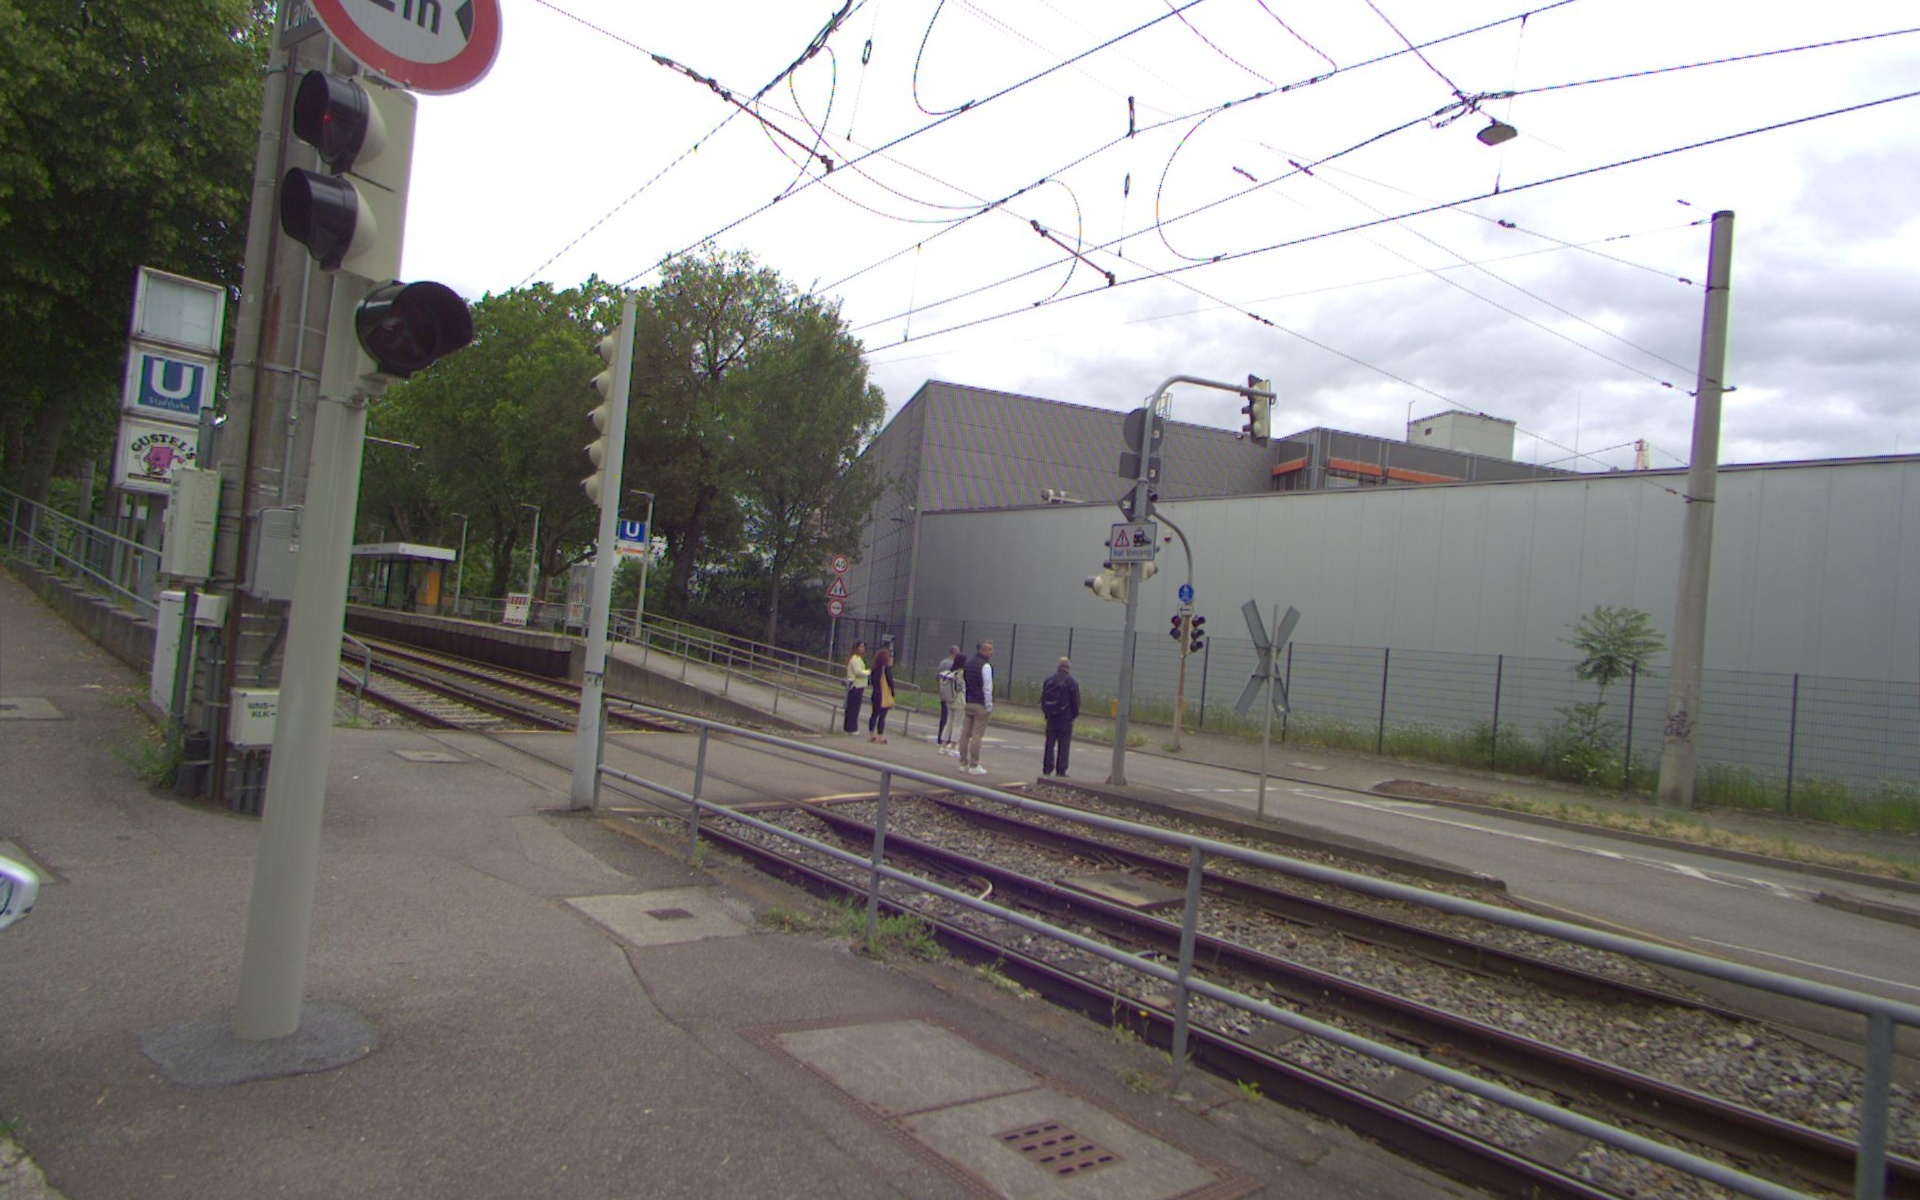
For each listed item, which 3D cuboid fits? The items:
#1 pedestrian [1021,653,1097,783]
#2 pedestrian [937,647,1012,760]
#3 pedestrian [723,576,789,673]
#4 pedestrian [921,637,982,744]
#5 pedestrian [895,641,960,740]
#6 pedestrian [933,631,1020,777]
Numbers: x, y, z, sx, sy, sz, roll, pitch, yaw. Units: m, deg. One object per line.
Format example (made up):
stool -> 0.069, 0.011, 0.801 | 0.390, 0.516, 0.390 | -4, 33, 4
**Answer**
pedestrian -> 1.380, 1.639, 14.106 | 0.725, 1.682, 0.682 | 8, -4, -8
pedestrian -> 0.234, 1.644, 15.999 | 0.678, 1.682, 0.729 | 11, -5, -44
pedestrian -> -3.796, 0.453, 18.741 | 0.672, 1.682, 0.736 | 4, -5, 38
pedestrian -> -0.154, 1.585, 17.666 | 0.547, 1.777, 0.730 | 10, -5, -37
pedestrian -> -0.594, 1.646, 18.296 | 0.677, 1.682, 0.730 | 10, -5, -38
pedestrian -> 0.218, 1.377, 13.395 | 0.798, 1.842, 0.664 | 6, -2, -38
